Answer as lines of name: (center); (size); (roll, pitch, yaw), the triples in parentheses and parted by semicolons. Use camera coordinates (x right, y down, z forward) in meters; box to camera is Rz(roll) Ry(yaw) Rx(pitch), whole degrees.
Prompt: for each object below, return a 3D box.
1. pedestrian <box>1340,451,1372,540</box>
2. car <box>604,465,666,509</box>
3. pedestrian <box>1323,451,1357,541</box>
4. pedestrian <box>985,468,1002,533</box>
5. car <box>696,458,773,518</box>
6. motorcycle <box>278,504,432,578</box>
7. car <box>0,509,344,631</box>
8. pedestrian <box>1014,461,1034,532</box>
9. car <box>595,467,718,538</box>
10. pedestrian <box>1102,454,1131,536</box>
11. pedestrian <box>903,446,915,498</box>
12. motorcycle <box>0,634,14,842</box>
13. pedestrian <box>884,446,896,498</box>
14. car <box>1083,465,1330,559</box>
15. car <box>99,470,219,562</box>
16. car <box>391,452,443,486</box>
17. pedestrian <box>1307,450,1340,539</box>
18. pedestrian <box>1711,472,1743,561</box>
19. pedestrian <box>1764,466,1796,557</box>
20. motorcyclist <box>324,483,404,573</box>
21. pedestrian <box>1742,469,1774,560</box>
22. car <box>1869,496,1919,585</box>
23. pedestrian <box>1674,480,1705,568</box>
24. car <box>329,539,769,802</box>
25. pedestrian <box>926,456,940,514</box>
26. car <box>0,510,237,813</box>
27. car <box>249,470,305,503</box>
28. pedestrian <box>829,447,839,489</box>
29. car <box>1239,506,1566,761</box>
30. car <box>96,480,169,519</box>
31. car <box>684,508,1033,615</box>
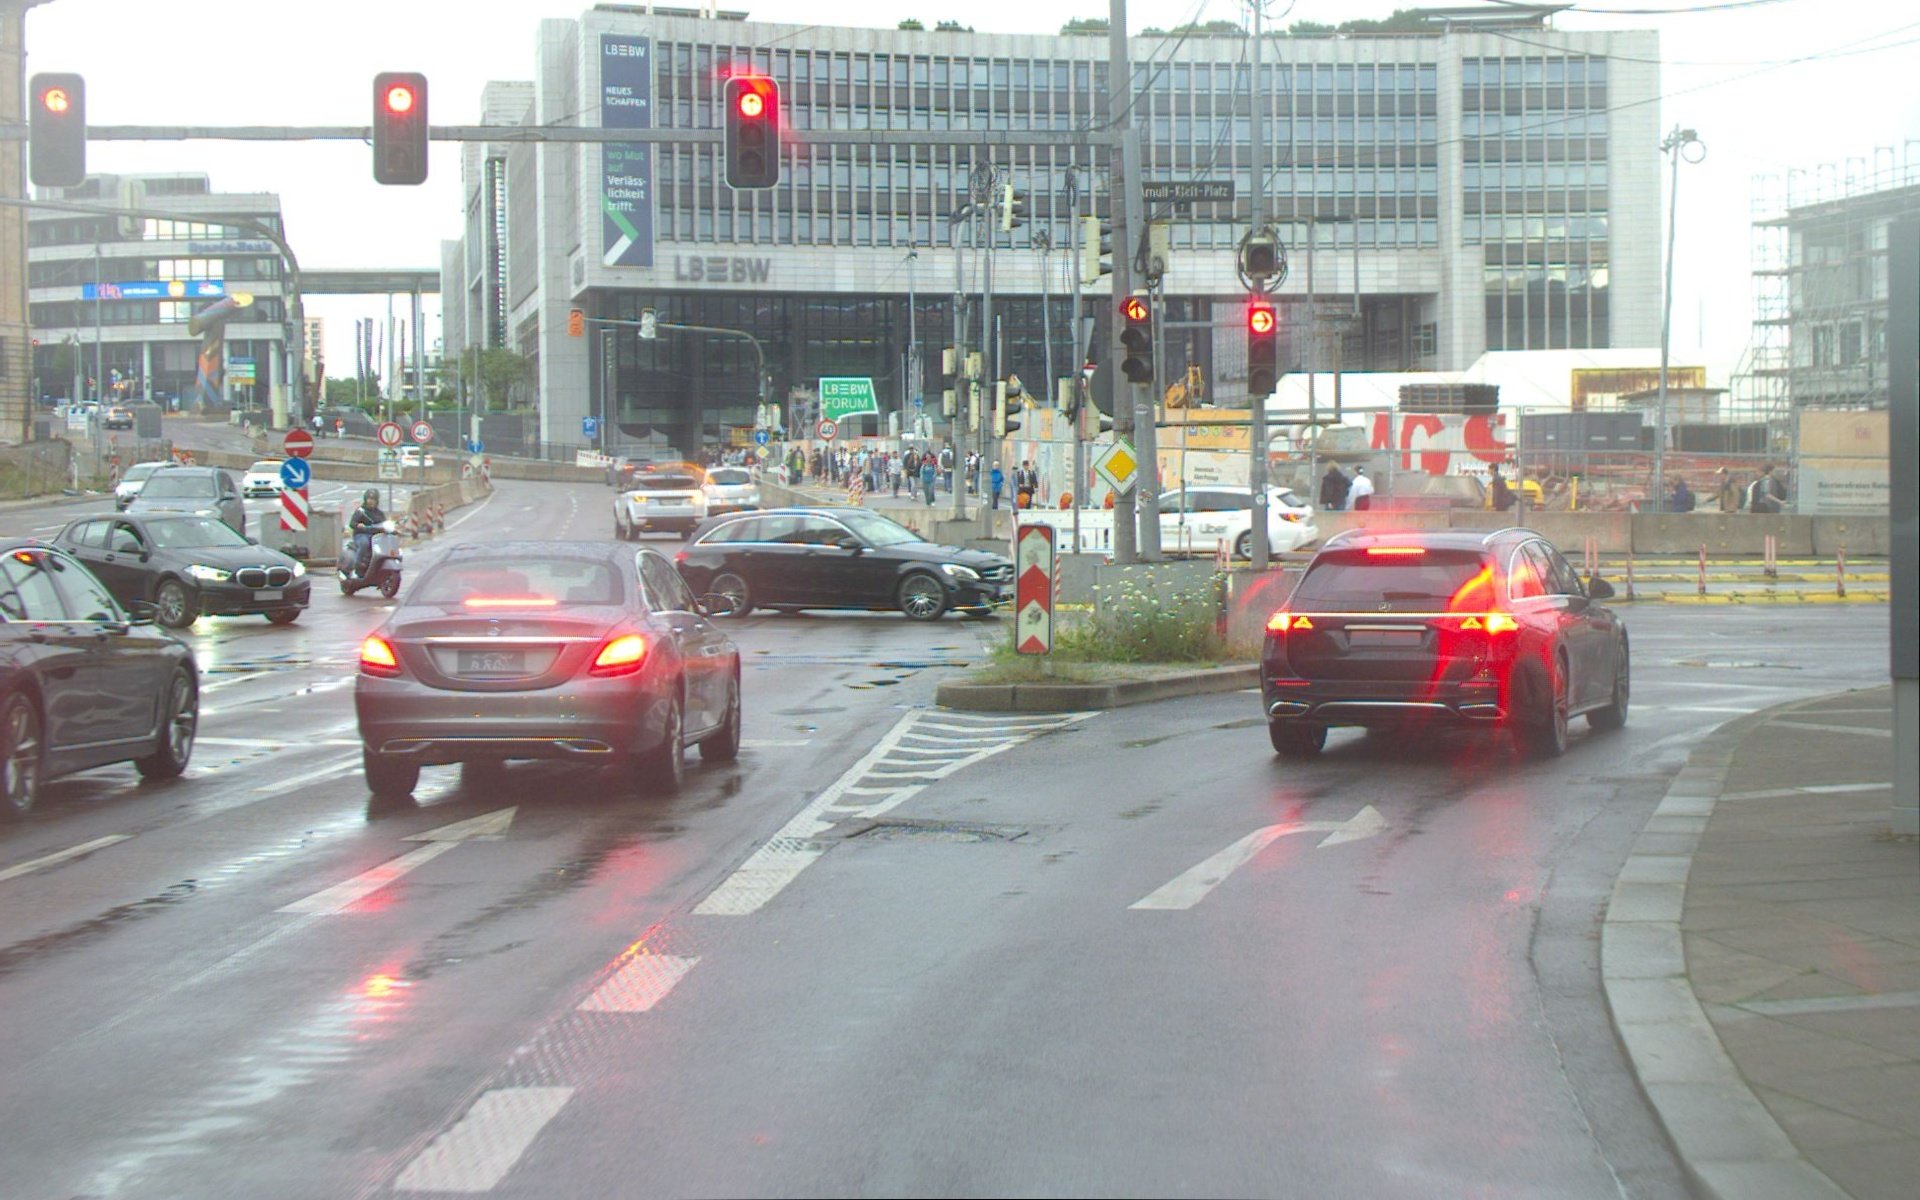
pedestrian: (8.494, -2.240, 73.765); (0.361, 1.891, 0.576); (0, 1, -41)
car: (-15.596, -5.414, 164.806); (1.993, 2.007, 4.001); (0, 1, -21)
pedestrian: (8.119, -2.220, 73.422); (0.361, 1.891, 0.576); (-2, 1, -40)
pedestrian: (0.969, -2.901, 100.259); (0.361, 1.891, 0.576); (0, 0, -13)
car: (-6.729, -3.352, 102.339); (1.727, 1.634, 3.436); (0, 4, -13)
motorcycle: (-9.224, -0.895, 52.449); (2.137, 1.104, 0.851); (1, 0, 12)
car: (-10.153, -0.403, 44.209); (4.106, 1.501, 1.996); (1, 1, 32)
pedestrian: (1.711, -2.787, 92.318); (0.361, 1.891, 0.576); (0, 0, -17)
car: (-7.338, -2.323, 82.827); (1.993, 1.634, 4.001); (0, 1, -20)
pedestrian: (3.633, -2.436, 79.818); (0.361, 1.891, 0.576); (0, 1, -38)
pedestrian: (-1.865, -4.655, 124.997); (0.361, 1.891, 0.576); (0, 0, -8)
motorcycle: (-5.030, 0.679, 15.562); (0.942, 0.986, 2.294); (1, 1, -2)
pedestrian: (-2.544, -4.651, 124.878); (0.361, 1.891, 0.576); (0, 0, -8)
car: (4.788, -1.704, 66.616); (4.408, 1.760, 1.998); (1, 1, 18)
car: (-16.360, -1.686, 70.407); (1.993, 1.791, 5.104); (0, 1, -9)
car: (-30.815, -7.398, 195.005); (1.993, 1.809, 4.001); (0, 1, -24)
pedestrian: (7.734, -2.241, 73.182); (0.361, 1.891, 0.576); (0, 1, -44)
pedestrian: (16.423, -1.778, 73.604); (0.574, 1.891, 0.362); (1, 0, -1)
pedestrian: (17.284, -1.865, 72.485); (0.574, 1.891, 0.362); (1, 0, 2)
motorcyclist: (-9.084, -1.092, 52.404); (0.945, 1.353, 0.849); (1, 0, 12)
pedestrian: (16.663, -1.778, 71.796); (0.575, 1.891, 0.362); (1, 0, 5)
car: (15.689, -0.869, 51.657); (3.533, 1.300, 1.666); (0, 1, -9)
pedestrian: (15.707, -1.638, 74.037); (0.575, 1.891, 0.362); (1, 0, 23)
car: (-2.349, 0.356, 20.798); (1.783, 1.398, 4.485); (1, 1, 5)
pedestrian: (-0.881, -3.730, 111.627); (0.361, 1.891, 0.576); (0, 0, -8)
car: (-5.620, 0.279, 19.139); (1.887, 1.509, 5.002); (1, 1, 3)
car: (-28.347, -4.693, 142.738); (1.767, 1.256, 4.001); (0, 1, -3)
pedestrian: (-5.673, -5.956, 154.862); (0.361, 1.891, 0.576); (0, 0, -8)
car: (3.051, 0.183, 23.062); (1.892, 1.538, 3.991); (1, 1, 11)
car: (-28.587, -3.478, 118.871); (1.767, 1.256, 4.195); (0, 1, -3)
car: (-1.330, -0.519, 45.017); (4.104, 1.340, 1.997); (1, 1, 26)
